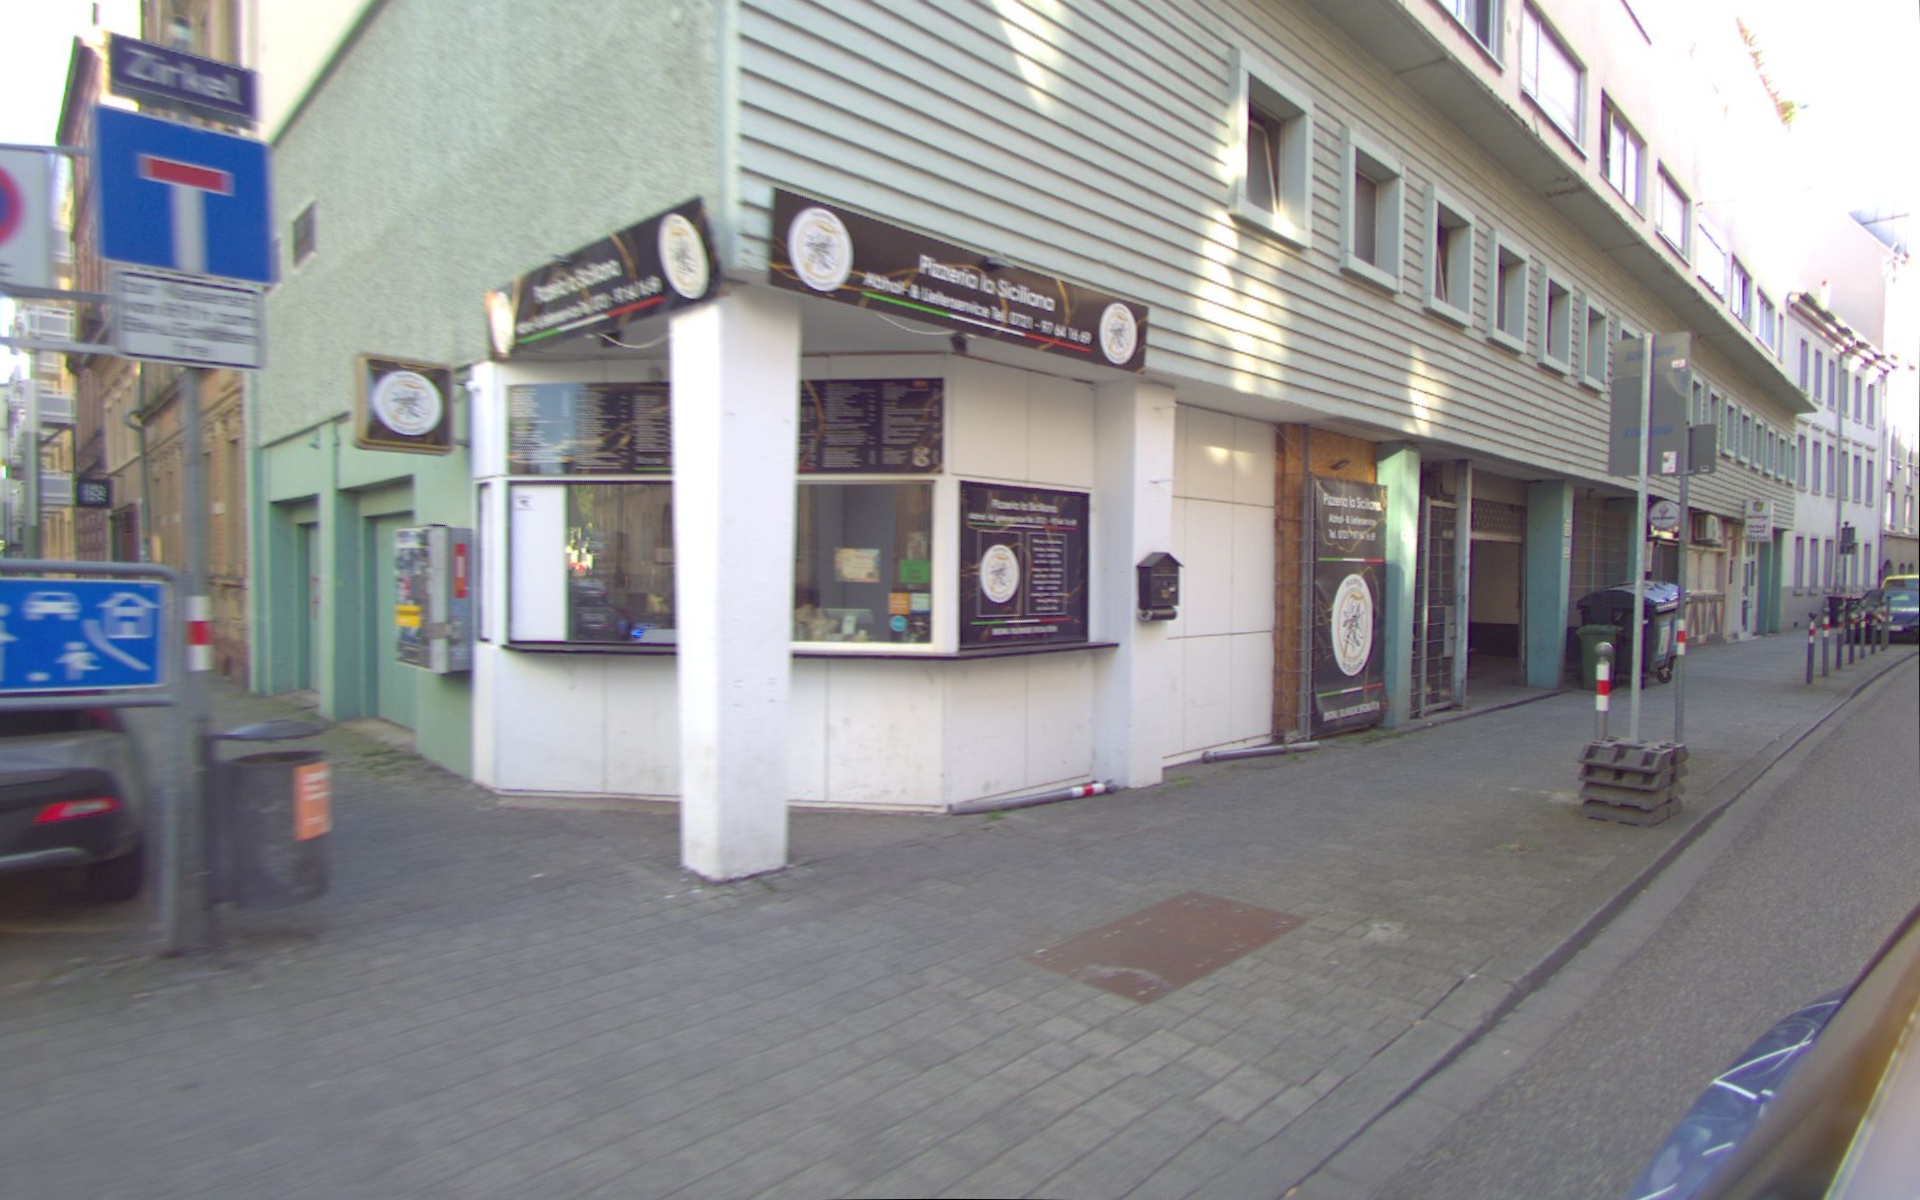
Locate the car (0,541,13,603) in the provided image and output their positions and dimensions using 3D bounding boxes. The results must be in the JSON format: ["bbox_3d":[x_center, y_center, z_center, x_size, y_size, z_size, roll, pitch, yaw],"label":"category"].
[{"bbox_3d":[-36.237,-0.938,37.082,2.125,2.166,4.646,-4,2,-43],"label":"car"}]

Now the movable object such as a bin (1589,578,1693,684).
[{"bbox_3d":[10.142,0.419,15.063,1.299,1.401,0.982,-4,6,-43],"label":"movable object such as a bin"}]

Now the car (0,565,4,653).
[{"bbox_3d":[-18.202,0.125,17.915,1.754,1.500,3.960,-3,4,-43],"label":"car"}]

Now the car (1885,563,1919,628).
[{"bbox_3d":[29.905,-0.171,30.911,4.761,1.905,1.887,-1,1,-41],"label":"car"}]

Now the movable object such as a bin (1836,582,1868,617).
[{"bbox_3d":[29.516,-0.018,33.482,0.696,1.063,0.608,-1,7,-42],"label":"movable object such as a bin"}]

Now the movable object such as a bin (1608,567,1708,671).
[{"bbox_3d":[11.223,0.255,16.254,1.526,1.497,0.982,-4,6,-43],"label":"movable object such as a bin"}]

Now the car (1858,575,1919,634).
[{"bbox_3d":[25.695,0.079,27.259,4.295,1.508,1.885,-1,1,-43],"label":"car"}]

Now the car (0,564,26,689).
[{"bbox_3d":[-13.829,0.313,13.630,1.645,1.499,4.176,-4,4,-41],"label":"car"}]

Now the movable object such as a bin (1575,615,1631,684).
[{"bbox_3d":[9.294,0.701,14.633,0.514,0.910,0.557,-4,5,-43],"label":"movable object such as a bin"}]

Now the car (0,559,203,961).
[{"bbox_3d":[-5.248,0.553,5.026,1.835,1.500,4.081,-2,3,-45],"label":"car"}]

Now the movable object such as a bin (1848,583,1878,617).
[{"bbox_3d":[30.214,-0.009,33.867,0.627,1.063,0.697,8,7,44],"label":"movable object such as a bin"}]
